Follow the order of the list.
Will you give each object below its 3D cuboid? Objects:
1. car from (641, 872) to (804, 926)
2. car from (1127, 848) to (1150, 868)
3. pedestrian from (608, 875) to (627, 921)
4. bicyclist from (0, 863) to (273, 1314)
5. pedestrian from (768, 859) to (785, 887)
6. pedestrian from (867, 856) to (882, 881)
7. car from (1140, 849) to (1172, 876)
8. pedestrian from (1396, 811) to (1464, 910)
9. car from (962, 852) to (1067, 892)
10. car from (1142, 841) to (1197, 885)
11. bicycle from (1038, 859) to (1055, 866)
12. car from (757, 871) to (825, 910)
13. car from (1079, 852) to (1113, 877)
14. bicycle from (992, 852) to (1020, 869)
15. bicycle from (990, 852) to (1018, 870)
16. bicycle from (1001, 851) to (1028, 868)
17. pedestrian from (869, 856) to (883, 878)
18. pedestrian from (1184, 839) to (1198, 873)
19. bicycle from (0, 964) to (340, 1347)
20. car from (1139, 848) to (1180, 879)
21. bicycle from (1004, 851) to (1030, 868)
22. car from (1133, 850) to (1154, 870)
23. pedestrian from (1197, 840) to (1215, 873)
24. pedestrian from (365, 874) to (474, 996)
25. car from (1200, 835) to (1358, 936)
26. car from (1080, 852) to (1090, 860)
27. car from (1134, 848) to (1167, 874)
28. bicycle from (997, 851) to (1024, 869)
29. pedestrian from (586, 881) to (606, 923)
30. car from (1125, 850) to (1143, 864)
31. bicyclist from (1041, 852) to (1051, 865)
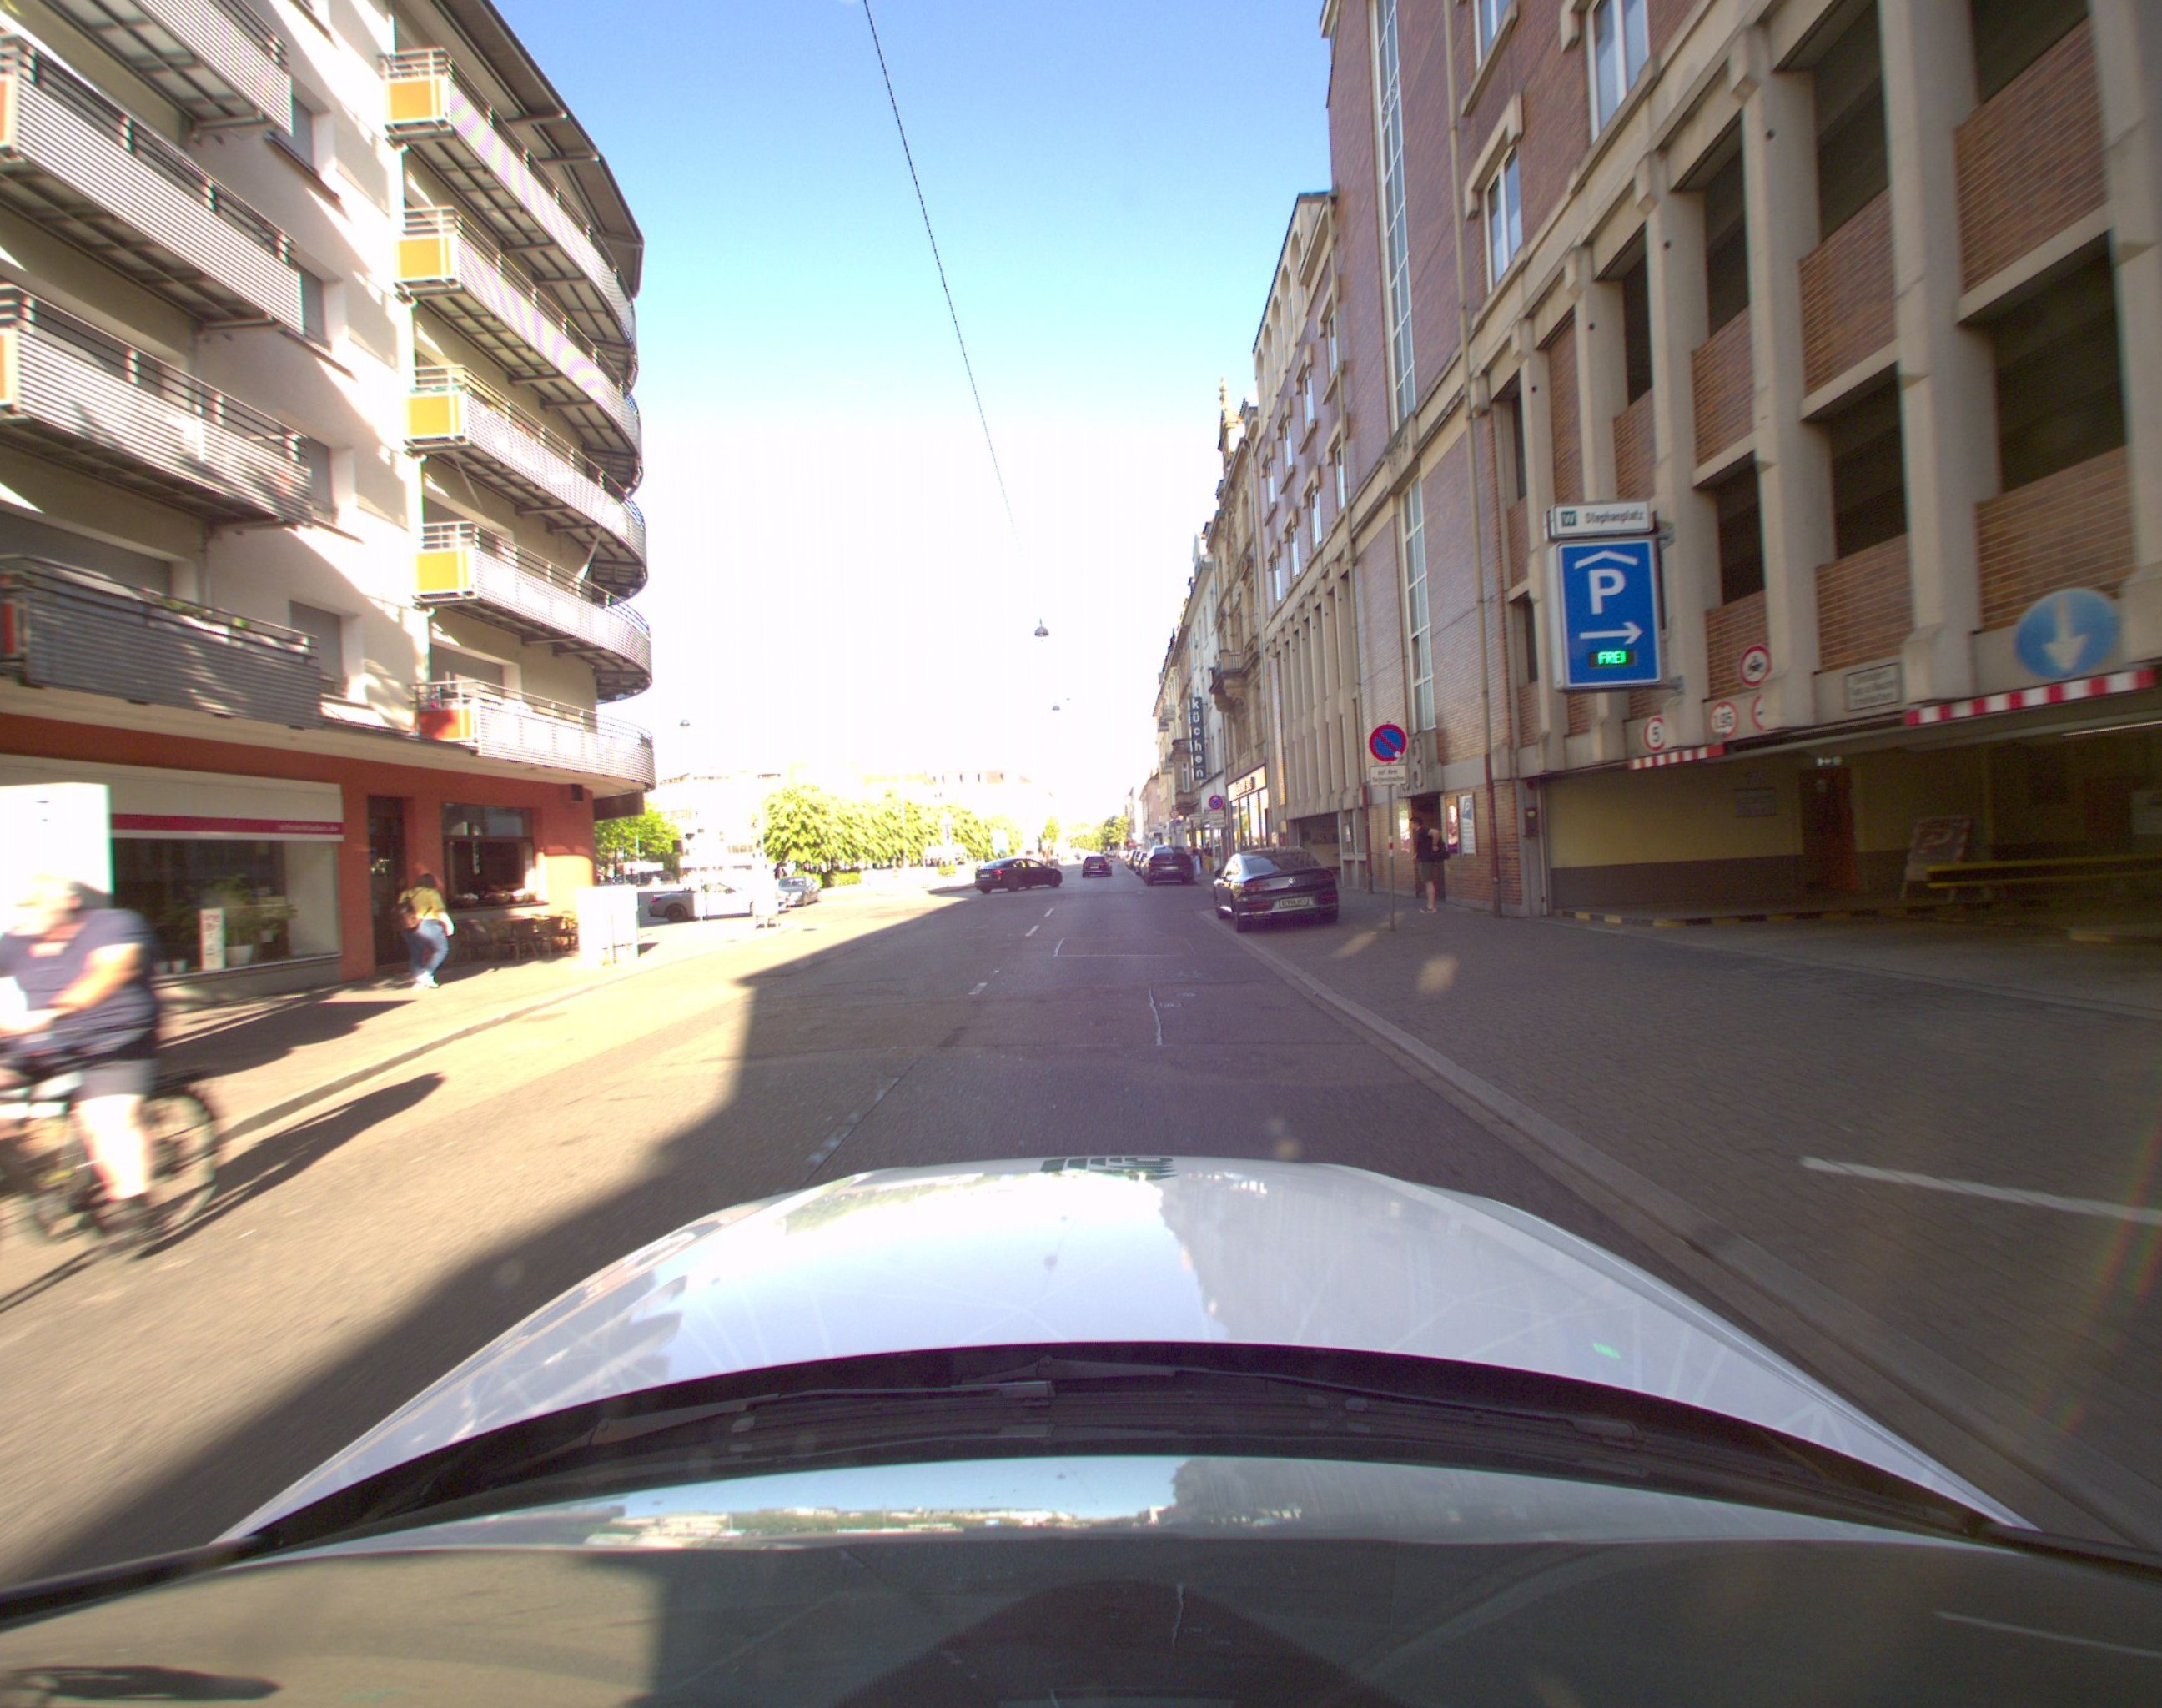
[{"bbox_3d":[-13.045,1.609,30.009,5.107,1.423,1.991,-5,0,-13],"label":"car"},{"bbox_3d":[5.002,0.342,71.241,1.710,1.635,4.084,-2,-1,0],"label":"car"},{"bbox_3d":[-18.984,1.788,33.346,0.589,1.827,0.553,-4,0,-32],"label":"pedestrian"},{"bbox_3d":[-4.313,0.885,3.469,0.697,1.653,1.032,-4,0,-10],"label":"bicyclist"},{"bbox_3d":[-24.328,1.508,65.013,0.725,2.108,0.973,-3,0,24],"label":"pedestrian"},{"bbox_3d":[-18.001,1.264,71.090,0.725,2.108,0.973,-3,0,24],"label":"pedestrian"},{"bbox_3d":[4.277,0.469,47.160,1.602,1.449,3.832,-2,0,2],"label":"car"},{"bbox_3d":[6.151,0.107,14.382,0.689,1.635,0.889,-5,0,1],"label":"pedestrian"},{"bbox_3d":[-2.855,0.771,35.860,1.976,1.480,4.524,-3,0,39],"label":"car"},{"bbox_3d":[3.751,0.354,35.320,1.966,1.725,4.826,-2,0,2],"label":"car"},{"bbox_3d":[-4.768,1.159,113.678,2.233,0.883,0.925,-3,0,5],"label":"bicycle"},{"bbox_3d":[-13.258,1.629,37.521,1.745,1.422,4.532,-3,1,-4],"label":"car"},{"bbox_3d":[1.028,0.633,53.578,1.926,1.487,4.275,-3,0,4],"label":"car"},{"bbox_3d":[-9.045,0.789,98.529,3.101,2.013,0.911,-3,0,10],"label":"bicycle"},{"bbox_3d":[-9.194,0.808,97.576,3.101,2.013,0.911,-3,0,10],"label":"bicycle"},{"bbox_3d":[-8.374,0.665,102.674,3.101,2.013,0.911,-3,0,10],"label":"bicycle"},{"bbox_3d":[-19.932,1.257,79.217,0.725,2.108,0.973,-3,0,24],"label":"pedestrian"},{"bbox_3d":[5.774,0.110,42.913,0.617,1.766,0.519,-3,0,4],"label":"pedestrian"},{"bbox_3d":[-4.294,1.189,3.450,0.705,1.146,1.960,-4,0,-10],"label":"bicycle"},{"bbox_3d":[4.039,0.465,42.302,1.832,1.487,4.186,-2,0,2],"label":"car"},{"bbox_3d":[-8.178,0.651,103.712,3.101,2.013,0.911,-3,0,10],"label":"bicycle"},{"bbox_3d":[5.008,0.444,65.611,1.607,1.546,2.857,-2,0,3],"label":"car"},{"bbox_3d":[6.575,0.136,42.883,0.797,1.674,0.590,-5,0,4],"label":"pedestrian"},{"bbox_3d":[-9.746,1.162,12.037,0.662,1.659,1.037,-3,0,1],"label":"pedestrian"},{"bbox_3d":[3.663,0.510,16.062,1.910,1.478,4.967,-7,0,2],"label":"car"},{"bbox_3d":[0.923,0.497,187.138,1.985,1.771,4.004,-2,1,3],"label":"car"},{"bbox_3d":[4.449,0.444,52.615,1.832,1.546,4.229,-2,0,1],"label":"car"},{"bbox_3d":[-8.663,0.746,100.558,3.101,2.013,0.911,-3,0,10],"label":"bicycle"},{"bbox_3d":[-19.621,1.924,32.947,0.618,1.613,0.577,-4,0,-32],"label":"pedestrian"},{"bbox_3d":[5.732,0.370,88.797,1.785,1.460,3.870,-2,-1,2],"label":"car"},{"bbox_3d":[-4.871,0.620,113.685,1.140,1.686,0.916,-3,0,5],"label":"bicyclist"}]
